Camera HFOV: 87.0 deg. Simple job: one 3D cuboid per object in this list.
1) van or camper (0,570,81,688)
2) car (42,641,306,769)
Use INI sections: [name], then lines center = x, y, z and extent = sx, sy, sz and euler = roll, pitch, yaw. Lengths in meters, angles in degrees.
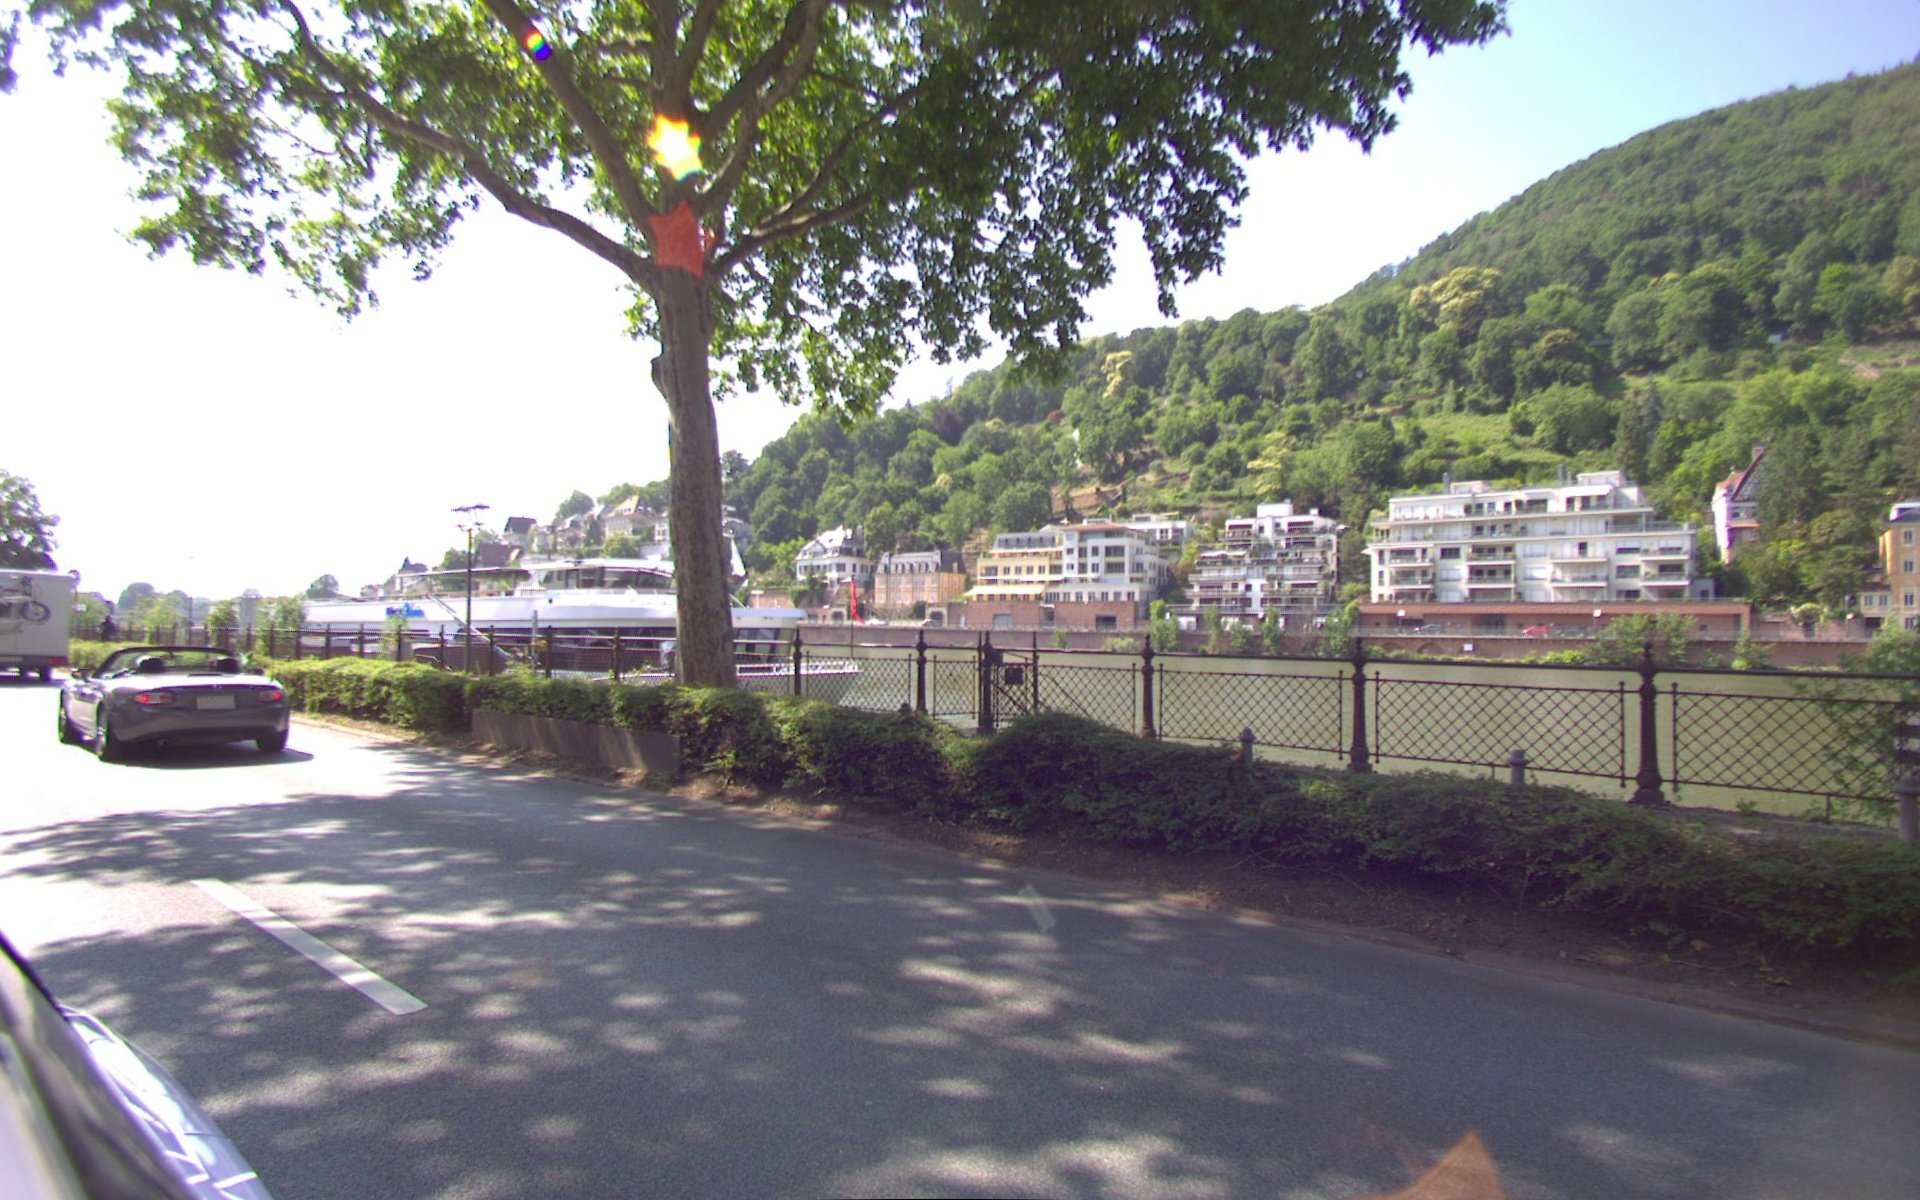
[van or camper]
center = -24.110, 0.701, 25.204
extent = 6.260, 2.682, 2.298
euler = -1, -4, 40
[car]
center = -9.297, 1.142, 11.901
extent = 3.482, 1.220, 1.681
euler = -1, -4, 40
